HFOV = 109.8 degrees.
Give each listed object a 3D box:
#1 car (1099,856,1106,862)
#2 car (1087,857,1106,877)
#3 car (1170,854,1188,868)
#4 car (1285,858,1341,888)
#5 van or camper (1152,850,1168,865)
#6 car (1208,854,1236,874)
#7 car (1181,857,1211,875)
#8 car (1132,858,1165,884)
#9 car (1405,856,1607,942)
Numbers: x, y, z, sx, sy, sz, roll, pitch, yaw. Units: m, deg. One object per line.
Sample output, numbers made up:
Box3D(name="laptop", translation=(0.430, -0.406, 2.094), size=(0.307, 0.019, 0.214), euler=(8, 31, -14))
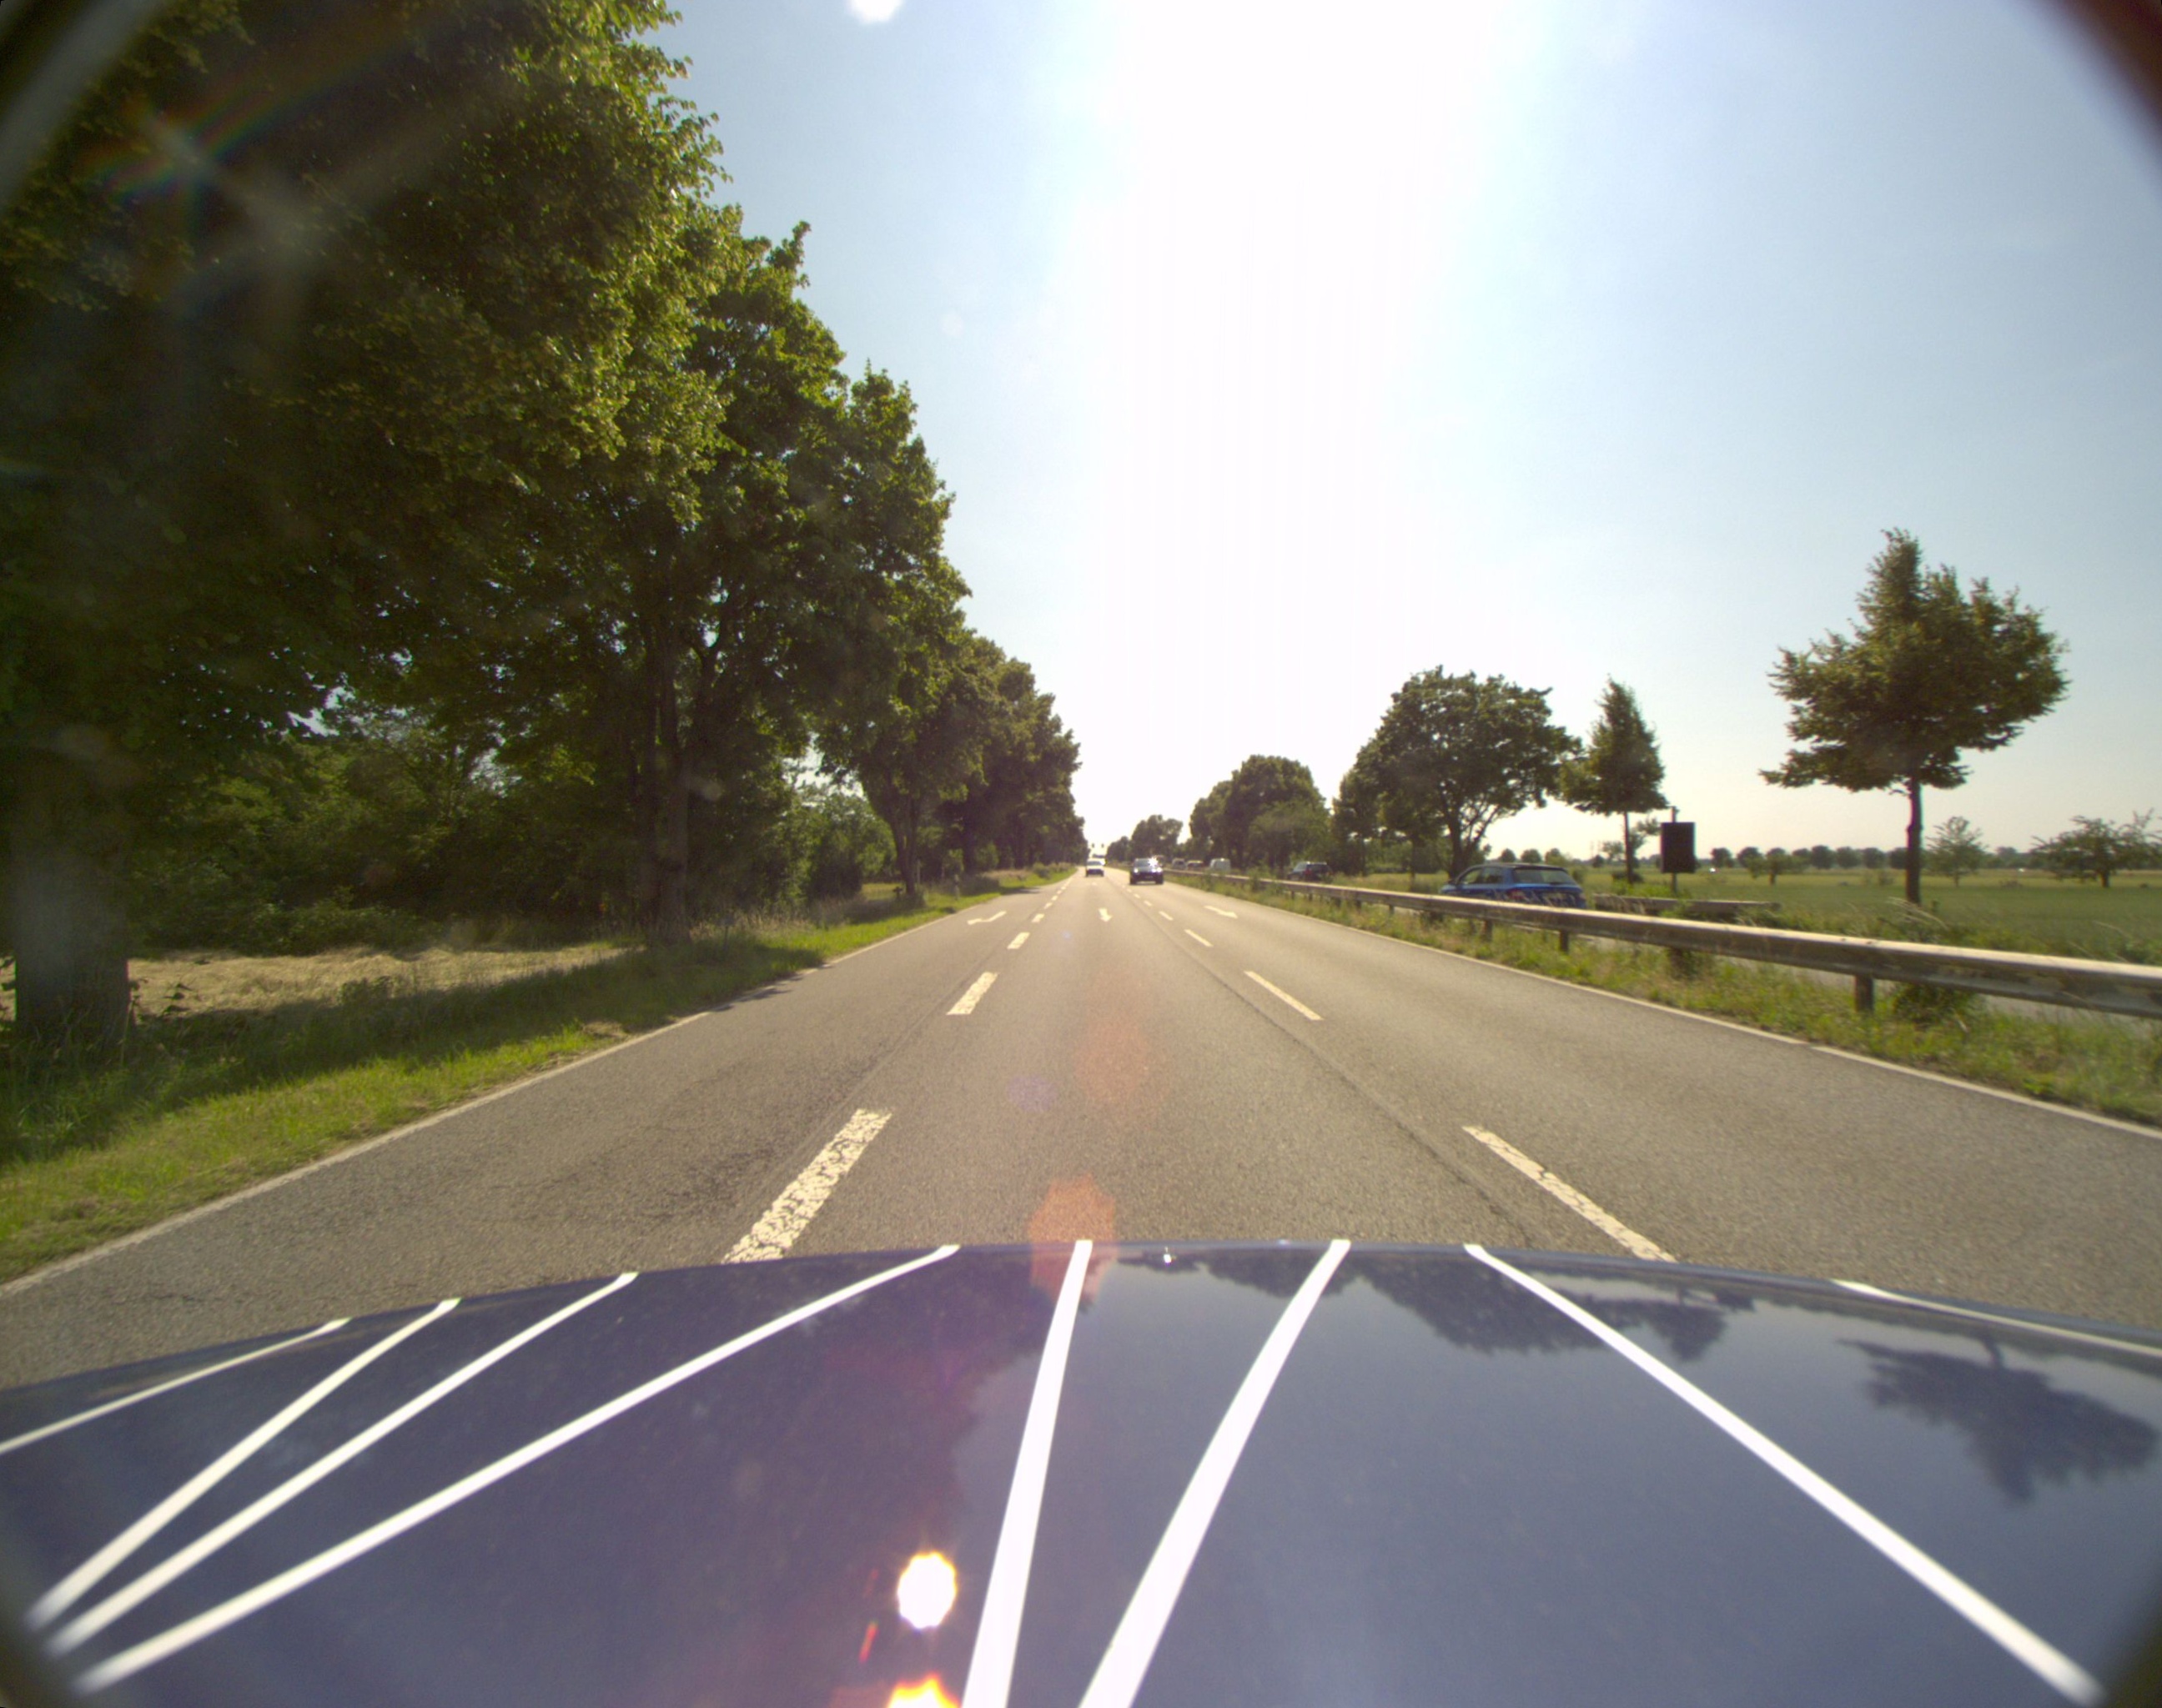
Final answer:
Box3D(name="car", translation=(6.448, 1.639, 230.590), size=(1.886, 1.775, 4.000), euler=(0, 0, 0))
Box3D(name="car", translation=(1.472, 1.193, 73.460), size=(1.777, 1.863, 4.581), euler=(0, 0, 0))
Box3D(name="car", translation=(14.468, 1.050, 112.742), size=(2.043, 2.002, 4.532), euler=(0, 0, 0))
Box3D(name="car", translation=(13.724, 1.075, 45.239), size=(1.998, 1.653, 4.480), euler=(-1, 0, 0))
Box3D(name="van or camper", translation=(15.208, 0.700, 146.447), size=(2.391, 2.931, 7.091), euler=(0, 0, 1))
Box3D(name="car", translation=(14.383, 0.996, 77.629), size=(1.998, 1.949, 4.927), euler=(0, 0, 0))
Box3D(name="car", translation=(10.172, 1.070, 67.630), size=(1.998, 1.547, 4.480), euler=(0, 0, 0))
Box3D(name="car", translation=(4.223, 1.066, 47.997), size=(1.860, 1.507, 4.101), euler=(-1, 0, 2))
Box3D(name="car", translation=(9.195, 0.883, 16.967), size=(1.998, 1.653, 4.480), euler=(0, 0, 0))
